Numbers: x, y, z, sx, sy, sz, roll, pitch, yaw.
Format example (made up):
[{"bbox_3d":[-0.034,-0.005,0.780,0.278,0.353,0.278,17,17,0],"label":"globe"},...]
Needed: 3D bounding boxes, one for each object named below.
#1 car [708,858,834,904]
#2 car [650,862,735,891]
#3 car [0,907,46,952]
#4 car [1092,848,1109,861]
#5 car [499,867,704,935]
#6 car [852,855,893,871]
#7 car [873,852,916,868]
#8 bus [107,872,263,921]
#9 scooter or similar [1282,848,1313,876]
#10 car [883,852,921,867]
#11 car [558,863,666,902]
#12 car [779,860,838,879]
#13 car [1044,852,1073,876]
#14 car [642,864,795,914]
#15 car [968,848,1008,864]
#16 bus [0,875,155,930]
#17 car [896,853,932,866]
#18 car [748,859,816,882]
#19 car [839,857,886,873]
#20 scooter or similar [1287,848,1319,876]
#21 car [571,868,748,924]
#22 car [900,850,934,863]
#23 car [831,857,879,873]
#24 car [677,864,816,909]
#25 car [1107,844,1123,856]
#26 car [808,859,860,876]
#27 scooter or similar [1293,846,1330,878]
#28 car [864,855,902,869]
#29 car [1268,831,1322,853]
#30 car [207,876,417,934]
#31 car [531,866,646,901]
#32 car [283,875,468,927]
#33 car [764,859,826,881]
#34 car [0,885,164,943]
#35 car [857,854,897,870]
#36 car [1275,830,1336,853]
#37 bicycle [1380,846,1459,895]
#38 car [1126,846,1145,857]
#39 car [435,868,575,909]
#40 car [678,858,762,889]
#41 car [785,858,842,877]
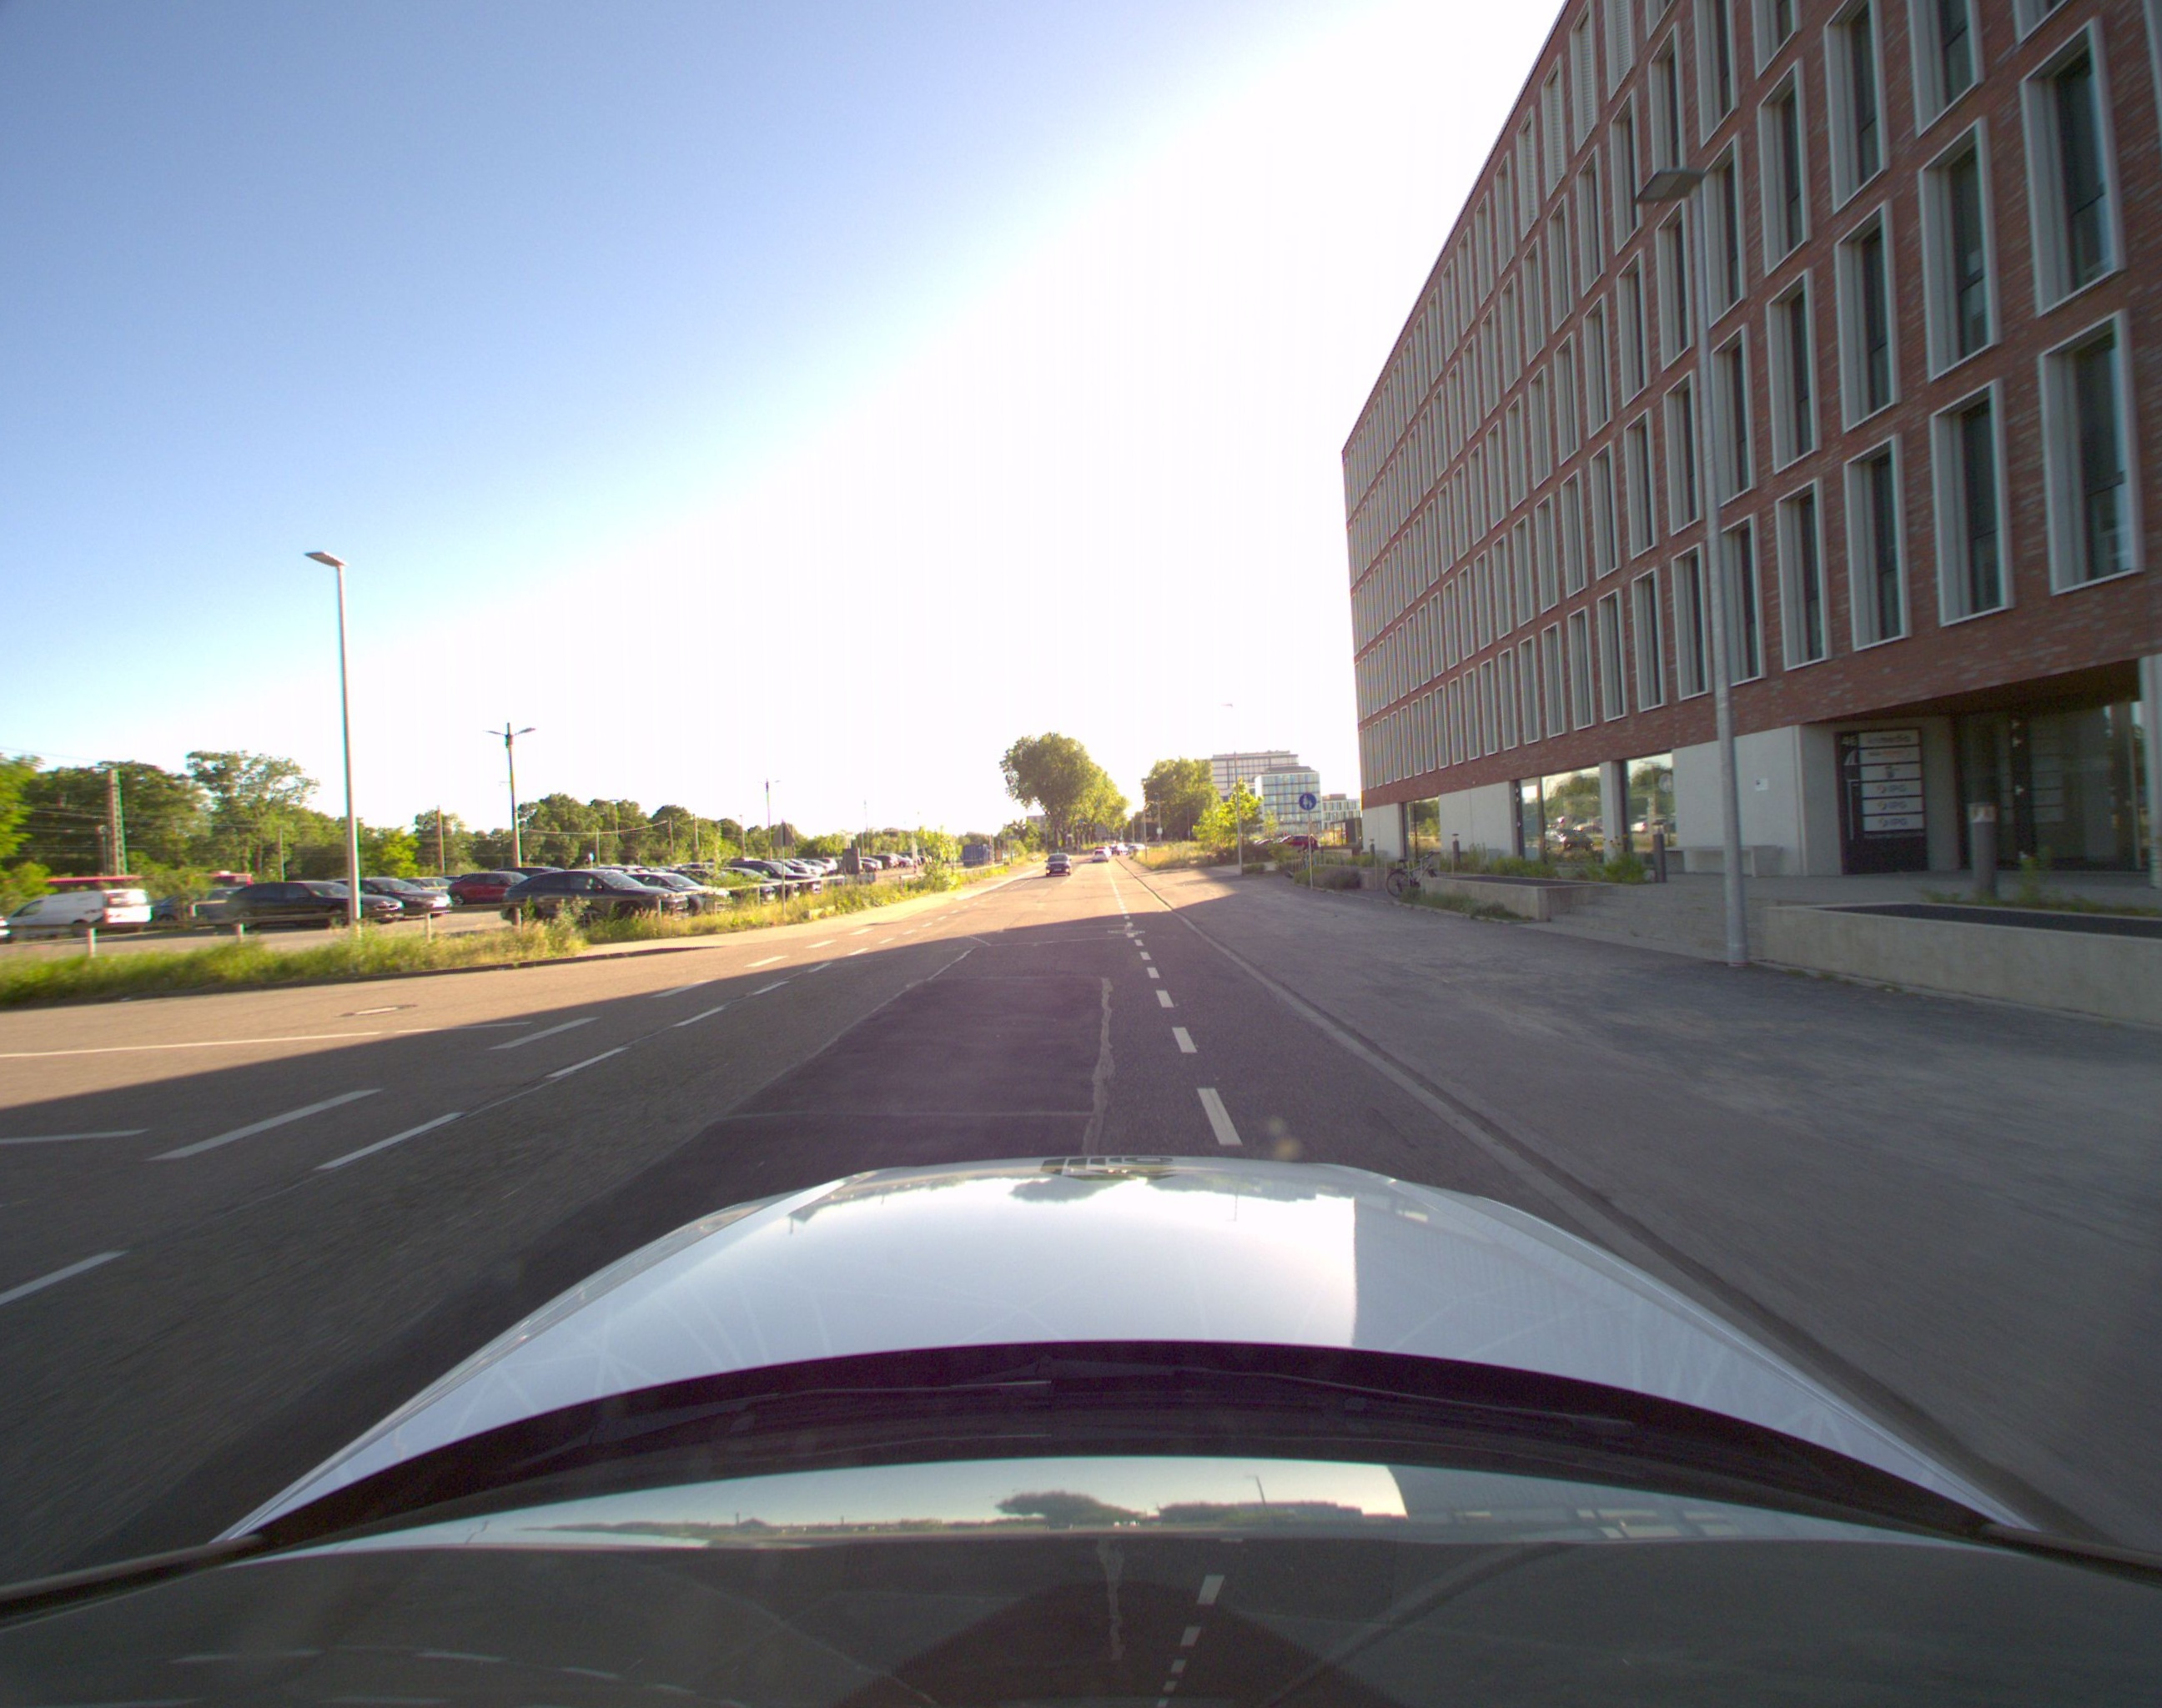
[{"bbox_3d":[-13.017,1.109,34.380,4.411,1.670,2.050,-3,0,2],"label":"car"},{"bbox_3d":[-24.181,1.384,50.748,4.350,1.545,1.858,-2,1,2],"label":"car"},{"bbox_3d":[-40.109,2.793,28.966,3.997,1.465,1.860,-3,0,-3],"label":"car"},{"bbox_3d":[2.206,0.047,90.994,1.782,1.420,4.003,-2,1,3],"label":"car"},{"bbox_3d":[-13.234,1.262,22.669,4.411,1.580,2.050,-3,0,2],"label":"car"},{"bbox_3d":[-22.499,0.969,87.908,3.870,1.603,1.878,-2,1,0],"label":"car"},{"bbox_3d":[-22.346,0.719,97.790,4.558,1.741,2.061,-2,1,5],"label":"car"},{"bbox_3d":[-51.534,2.367,47.077,2.529,2.348,5.593,-3,0,3],"label":"bus"},{"bbox_3d":[9.697,0.353,36.536,1.237,1.195,0.341,-3,0,5],"label":"scooter or similar"},{"bbox_3d":[-22.768,0.690,103.498,4.307,1.791,1.878,-2,1,0],"label":"car"},{"bbox_3d":[-23.562,1.410,41.034,4.149,1.662,1.965,-3,0,-2],"label":"car"},{"bbox_3d":[-23.087,1.333,69.023,4.305,1.393,1.879,-2,1,2],"label":"car"},{"bbox_3d":[-1.513,0.653,56.282,1.647,1.503,4.002,-4,0,2],"label":"car"},{"bbox_3d":[-12.742,1.208,28.810,4.411,1.461,2.050,-3,0,2],"label":"car"},{"bbox_3d":[-11.737,0.281,102.951,4.829,1.834,2.000,-2,1,0],"label":"car"},{"bbox_3d":[-51.846,2.410,41.210,2.529,2.348,6.209,-3,0,3],"label":"bus"},{"bbox_3d":[-22.308,0.726,108.755,4.307,1.618,1.878,-2,1,0],"label":"car"},{"bbox_3d":[-23.446,1.305,64.027,4.559,1.585,1.858,-2,1,2],"label":"car"},{"bbox_3d":[-22.835,1.140,85.111,4.307,1.376,1.878,-2,1,0],"label":"car"},{"bbox_3d":[9.560,0.343,35.067,1.237,1.155,0.366,-3,0,5],"label":"scooter or similar"},{"bbox_3d":[-13.131,1.287,25.574,4.411,1.461,2.050,-3,0,2],"label":"car"},{"bbox_3d":[-22.395,0.389,111.278,4.193,1.618,1.878,-2,1,0],"label":"car"},{"bbox_3d":[-22.824,1.113,82.315,4.307,1.376,1.878,-2,1,0],"label":"car"},{"bbox_3d":[-12.822,1.236,31.402,4.411,1.461,2.050,-3,0,2],"label":"car"},{"bbox_3d":[5.091,-0.584,120.145,2.154,1.684,4.005,-2,-1,4],"label":"car"},{"bbox_3d":[-23.299,1.272,76.939,4.307,1.419,1.878,-2,1,0],"label":"car"},{"bbox_3d":[9.476,0.331,33.510,1.334,1.245,0.424,-3,0,5],"label":"scooter or similar"},{"bbox_3d":[-23.097,0.902,94.942,3.870,1.520,1.878,-2,1,0],"label":"car"},{"bbox_3d":[18.223,-1.039,69.420,4.165,1.581,1.854,-3,-3,4],"label":"car"},{"bbox_3d":[-23.716,1.535,25.279,4.392,1.465,2.047,-3,0,-3],"label":"car"},{"bbox_3d":[-23.341,1.375,38.721,4.150,1.397,2.047,-3,0,-3],"label":"car"},{"bbox_3d":[-24.148,1.577,28.017,4.392,1.465,2.047,-3,0,-3],"label":"car"},{"bbox_3d":[-23.301,1.303,66.434,4.305,1.523,1.879,-2,1,2],"label":"car"},{"bbox_3d":[-39.268,2.322,32.052,3.997,1.919,1.860,-3,0,-3],"label":"car"},{"bbox_3d":[-22.680,0.900,90.533,3.870,1.603,1.878,-2,1,0],"label":"car"},{"bbox_3d":[17.176,-0.951,62.455,4.165,1.580,1.854,-2,1,4],"label":"car"},{"bbox_3d":[9.082,0.445,21.864,1.929,1.169,0.374,-4,0,-5],"label":"bicycle"},{"bbox_3d":[8.423,-0.369,125.488,2.149,1.684,4.014,-2,-1,12],"label":"car"},{"bbox_3d":[-23.585,1.400,33.474,4.150,1.397,2.047,-3,0,-3],"label":"car"},{"bbox_3d":[-23.515,1.234,53.120,4.559,1.805,1.858,-2,1,2],"label":"car"},{"bbox_3d":[-23.461,1.191,71.606,4.305,1.463,1.879,-2,1,2],"label":"car"}]
